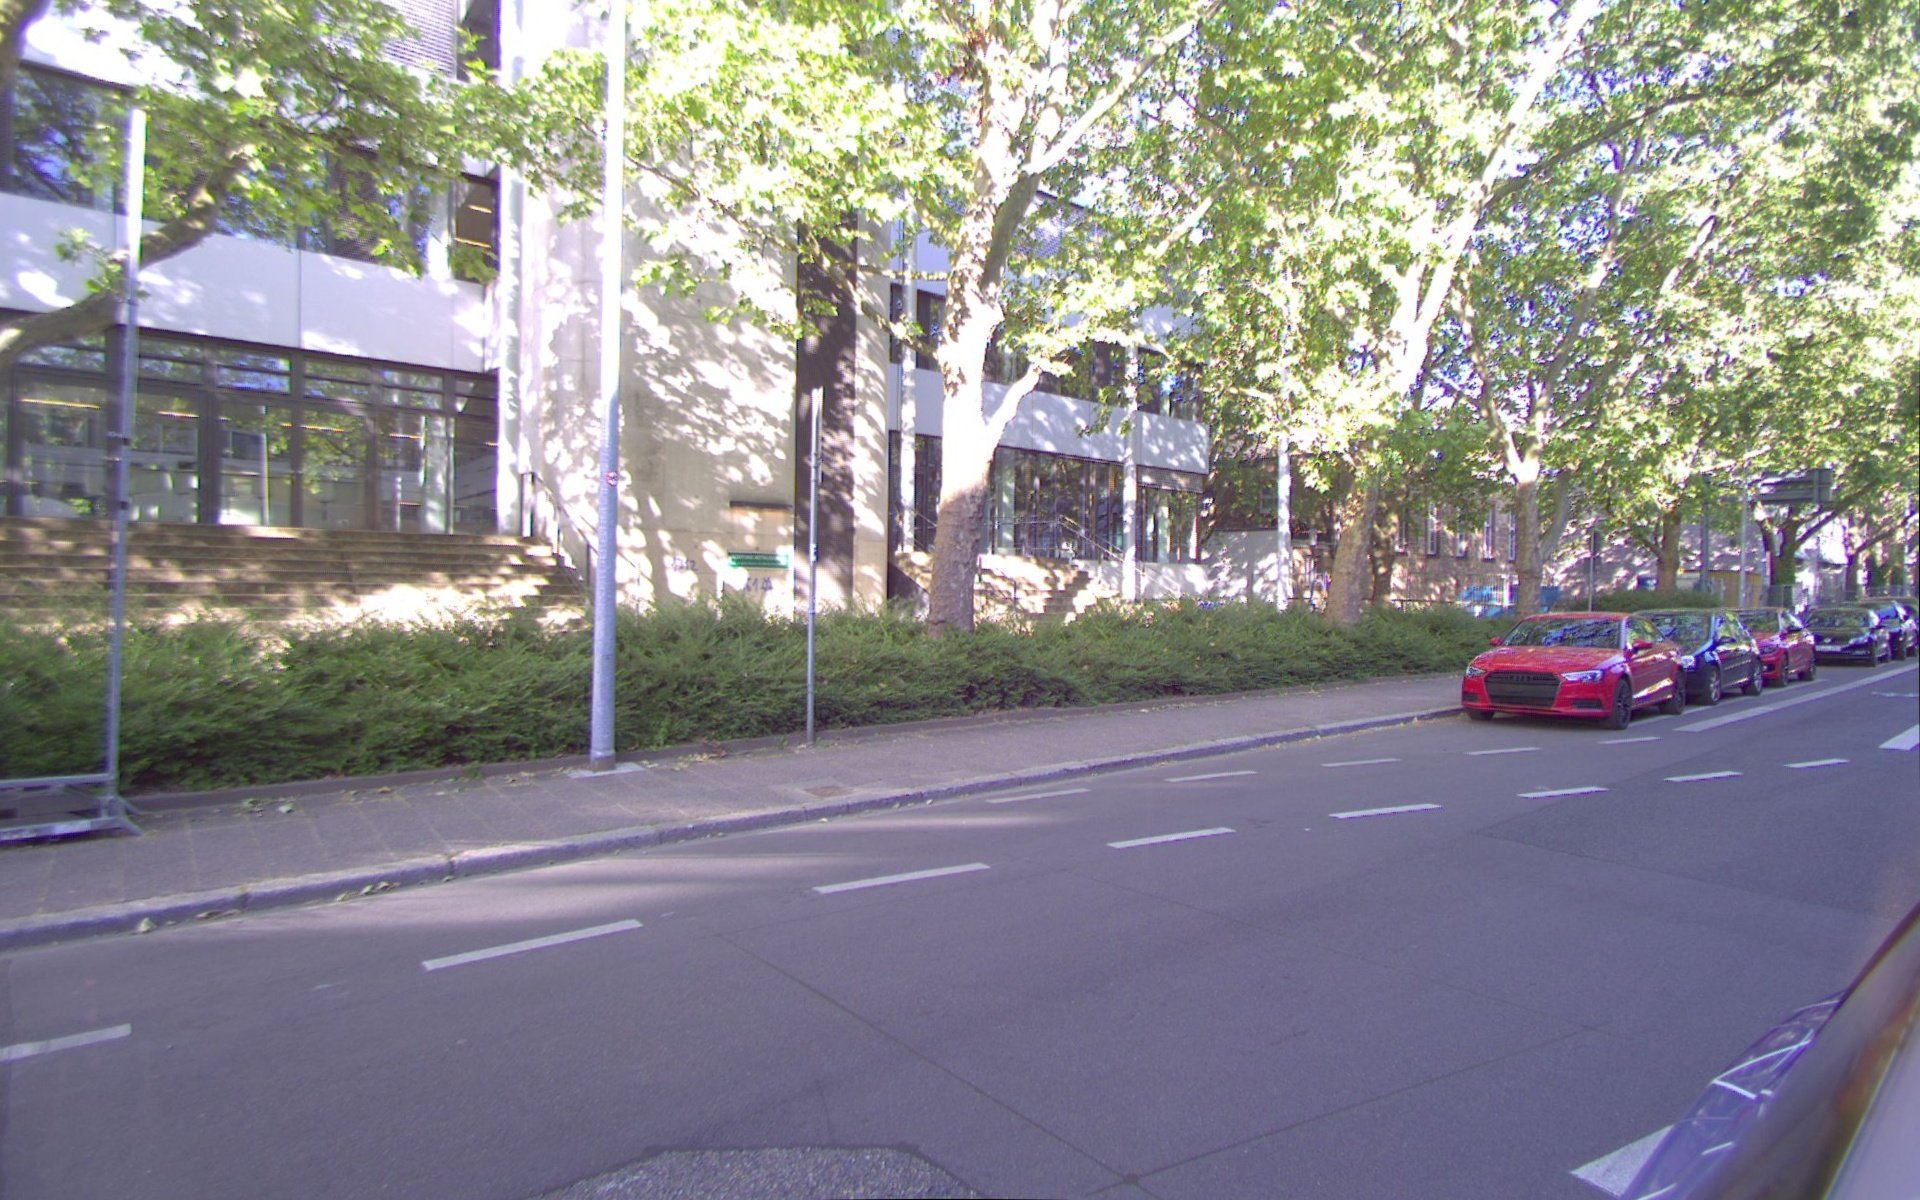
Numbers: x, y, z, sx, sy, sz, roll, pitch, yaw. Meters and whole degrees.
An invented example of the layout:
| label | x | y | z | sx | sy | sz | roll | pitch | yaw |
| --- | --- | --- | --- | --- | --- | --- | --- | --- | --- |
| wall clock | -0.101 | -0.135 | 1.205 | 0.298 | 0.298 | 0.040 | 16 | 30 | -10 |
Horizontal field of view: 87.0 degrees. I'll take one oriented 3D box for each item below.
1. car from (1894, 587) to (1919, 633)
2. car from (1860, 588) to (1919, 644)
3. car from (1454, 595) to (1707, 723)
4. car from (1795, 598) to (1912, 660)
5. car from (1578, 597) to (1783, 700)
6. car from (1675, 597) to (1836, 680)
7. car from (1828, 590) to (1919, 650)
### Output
| label | x | y | z | sx | sy | sz | roll | pitch | yaw |
| --- | --- | --- | --- | --- | --- | --- | --- | --- | --- |
| car | 35.742 | 0.361 | 37.087 | 4.004 | 1.638 | 1.797 | 0 | 1 | -41 |
| car | 31.084 | 0.481 | 33.065 | 4.188 | 1.747 | 1.997 | -1 | 0 | -41 |
| car | 8.363 | 0.671 | 13.498 | 4.101 | 1.443 | 1.773 | 0 | -1 | -42 |
| car | 22.986 | 0.680 | 26.006 | 3.930 | 1.456 | 1.744 | 0 | 1 | -41 |
| car | 11.903 | 0.696 | 16.643 | 3.929 | 1.475 | 1.812 | 0 | 1 | -40 |
| car | 15.762 | 0.686 | 19.999 | 3.930 | 1.456 | 1.789 | 0 | 1 | -41 |
| car | 26.649 | 0.524 | 29.204 | 4.158 | 1.601 | 1.847 | 0 | 1 | -41 |
